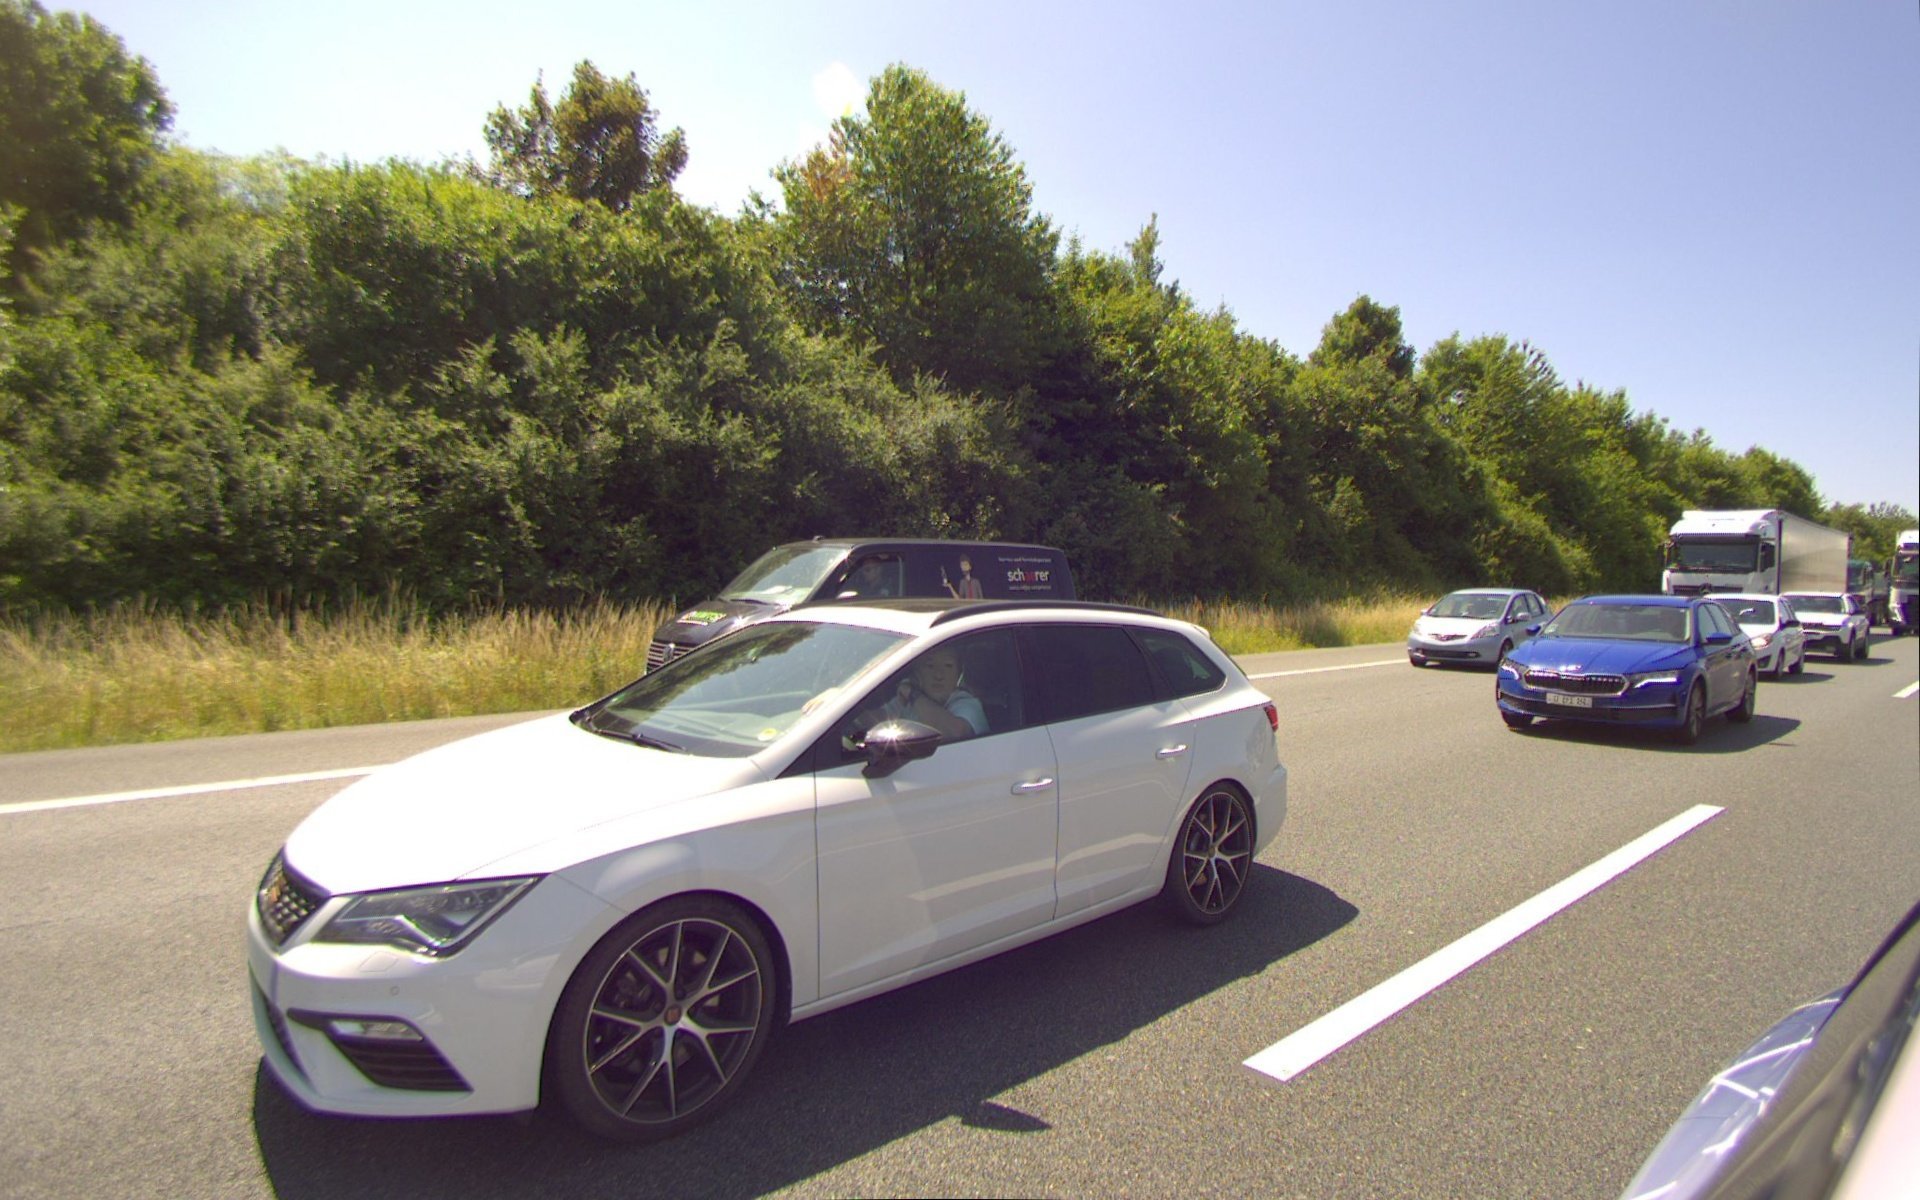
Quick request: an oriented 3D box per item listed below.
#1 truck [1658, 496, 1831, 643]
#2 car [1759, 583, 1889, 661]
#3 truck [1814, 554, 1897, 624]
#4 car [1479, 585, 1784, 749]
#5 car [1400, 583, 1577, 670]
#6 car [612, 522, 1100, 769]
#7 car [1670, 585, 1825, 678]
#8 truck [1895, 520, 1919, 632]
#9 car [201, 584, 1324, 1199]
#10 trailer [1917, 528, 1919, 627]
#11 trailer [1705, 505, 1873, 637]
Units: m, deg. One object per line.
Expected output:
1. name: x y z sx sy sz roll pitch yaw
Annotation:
1. truck: 25.561 -0.927 32.806 8.327 4.209 2.878 -1 0 -41
2. car: 19.738 0.429 23.072 3.818 1.577 1.746 -1 2 -42
3. truck: 43.196 -0.544 48.775 5.576 3.185 2.298 -1 0 -41
4. car: 7.682 0.580 11.396 4.494 1.434 1.779 -1 2 -42
5. car: 10.162 0.430 19.350 3.853 1.479 1.665 0 2 -40
6. car: -0.854 0.305 10.358 4.773 1.964 1.916 -1 1 -42
7. car: 14.289 0.483 18.295 3.746 1.452 1.607 -1 2 -43
8. truck: 38.281 -0.908 38.754 8.215 4.045 2.748 -1 0 -41
9. car: -0.384 0.683 4.146 4.239 1.461 1.750 -1 1 -42
10. trailer: 43.320 -0.954 43.170 8.996 4.024 2.774 -1 0 -41
11. trailer: 30.892 -1.001 37.417 11.865 4.209 2.878 -1 0 -41
